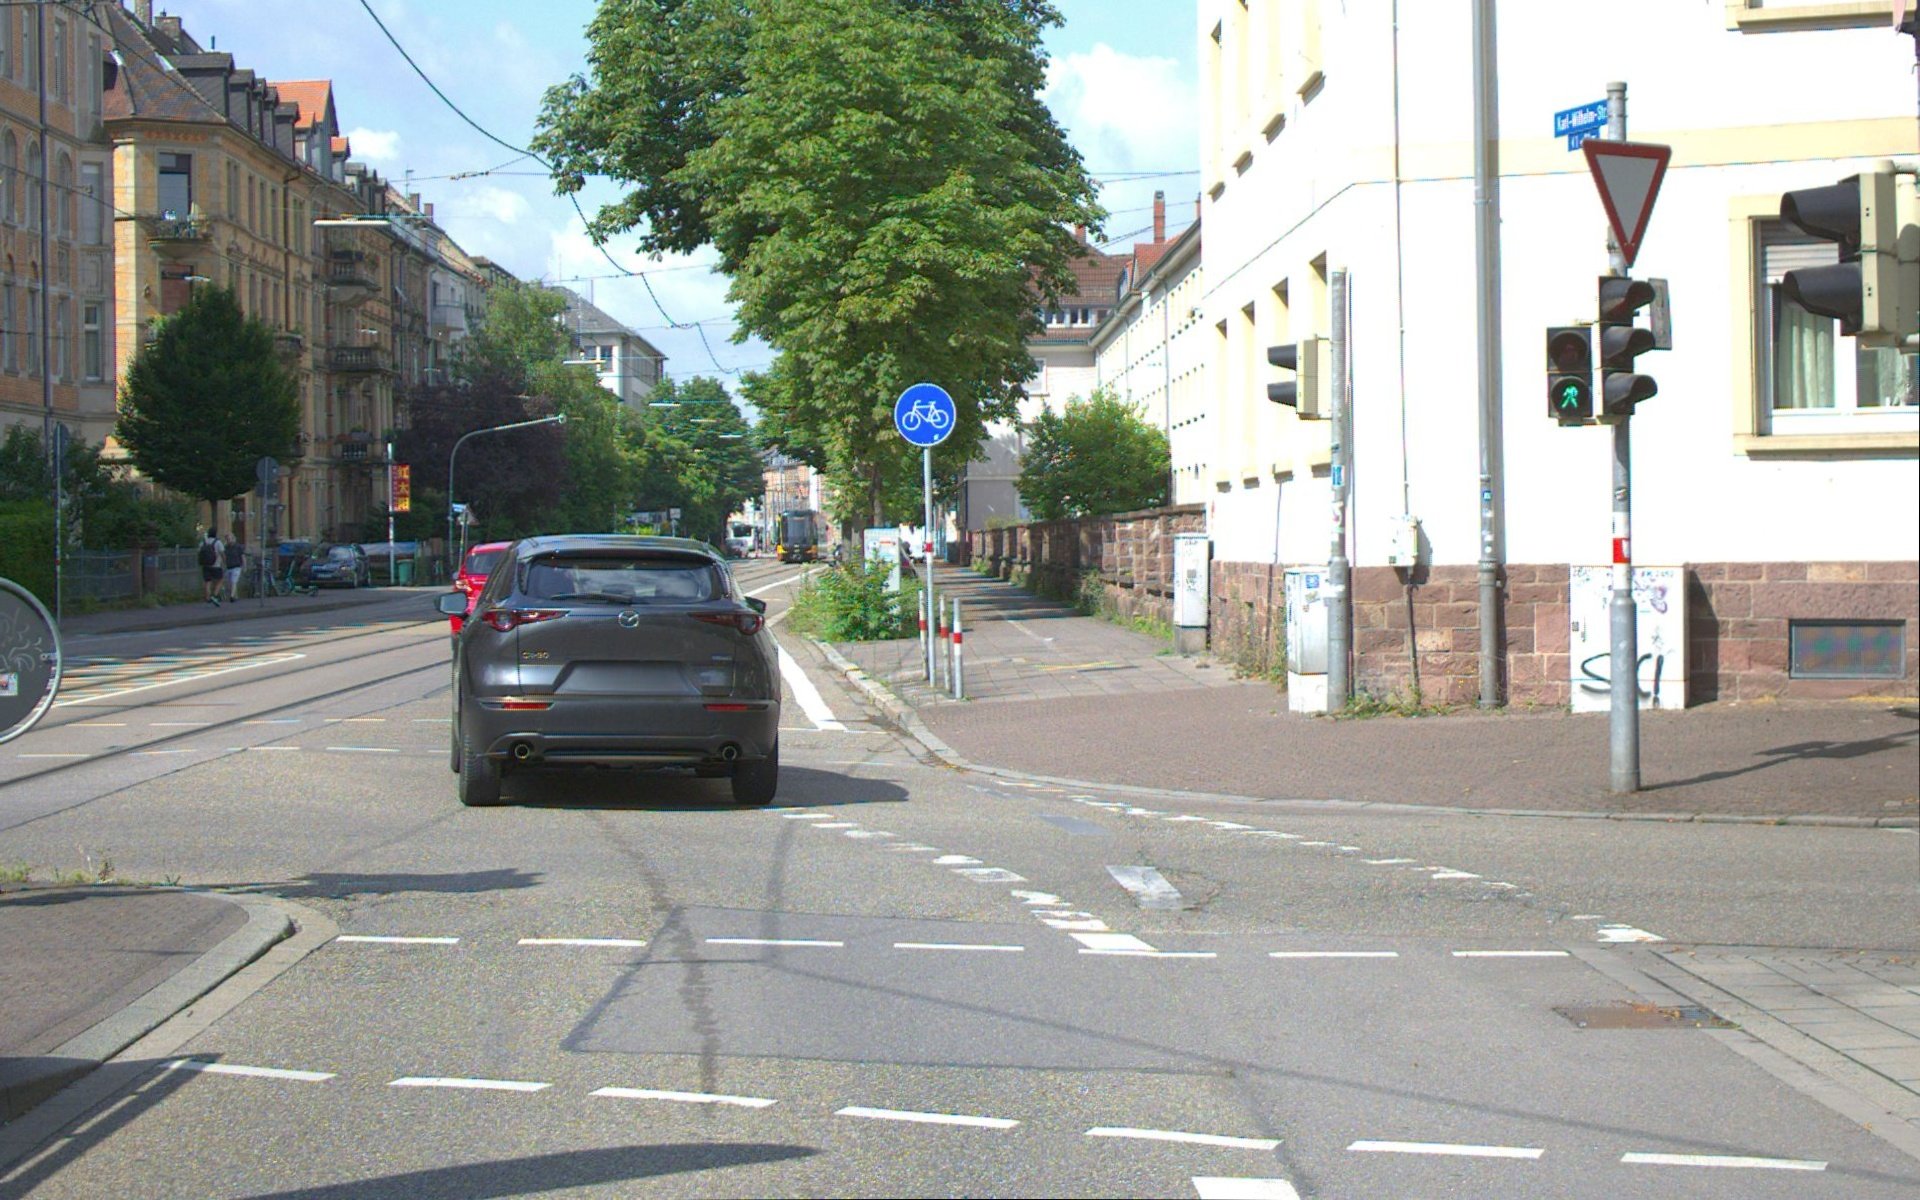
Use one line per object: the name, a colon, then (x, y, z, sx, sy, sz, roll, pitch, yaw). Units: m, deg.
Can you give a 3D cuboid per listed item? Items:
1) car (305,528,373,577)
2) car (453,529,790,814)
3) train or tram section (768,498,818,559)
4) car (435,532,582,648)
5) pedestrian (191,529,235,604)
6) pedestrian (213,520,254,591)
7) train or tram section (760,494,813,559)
car: (-20.874, -1.604, 115.683, 1.657, 1.590, 3.930, -1, 1, -2)
car: (-2.107, 0.351, 20.620, 1.782, 1.509, 4.001, 1, 1, -8)
train or tram section: (-11.428, -4.833, 236.204, 2.997, 3.970, 13.810, -1, 0, -1)
car: (-6.163, -0.168, 46.643, 1.775, 1.459, 3.843, 1, 1, -10)
pedestrian: (-16.761, -0.757, 77.129, 0.788, 1.682, 0.732, -1, 1, 1)
pedestrian: (-17.473, -1.069, 82.696, 0.788, 1.682, 0.732, -1, 1, 1)
train or tram section: (-11.176, -4.707, 222.442, 2.997, 3.970, 13.810, -1, 0, -1)
